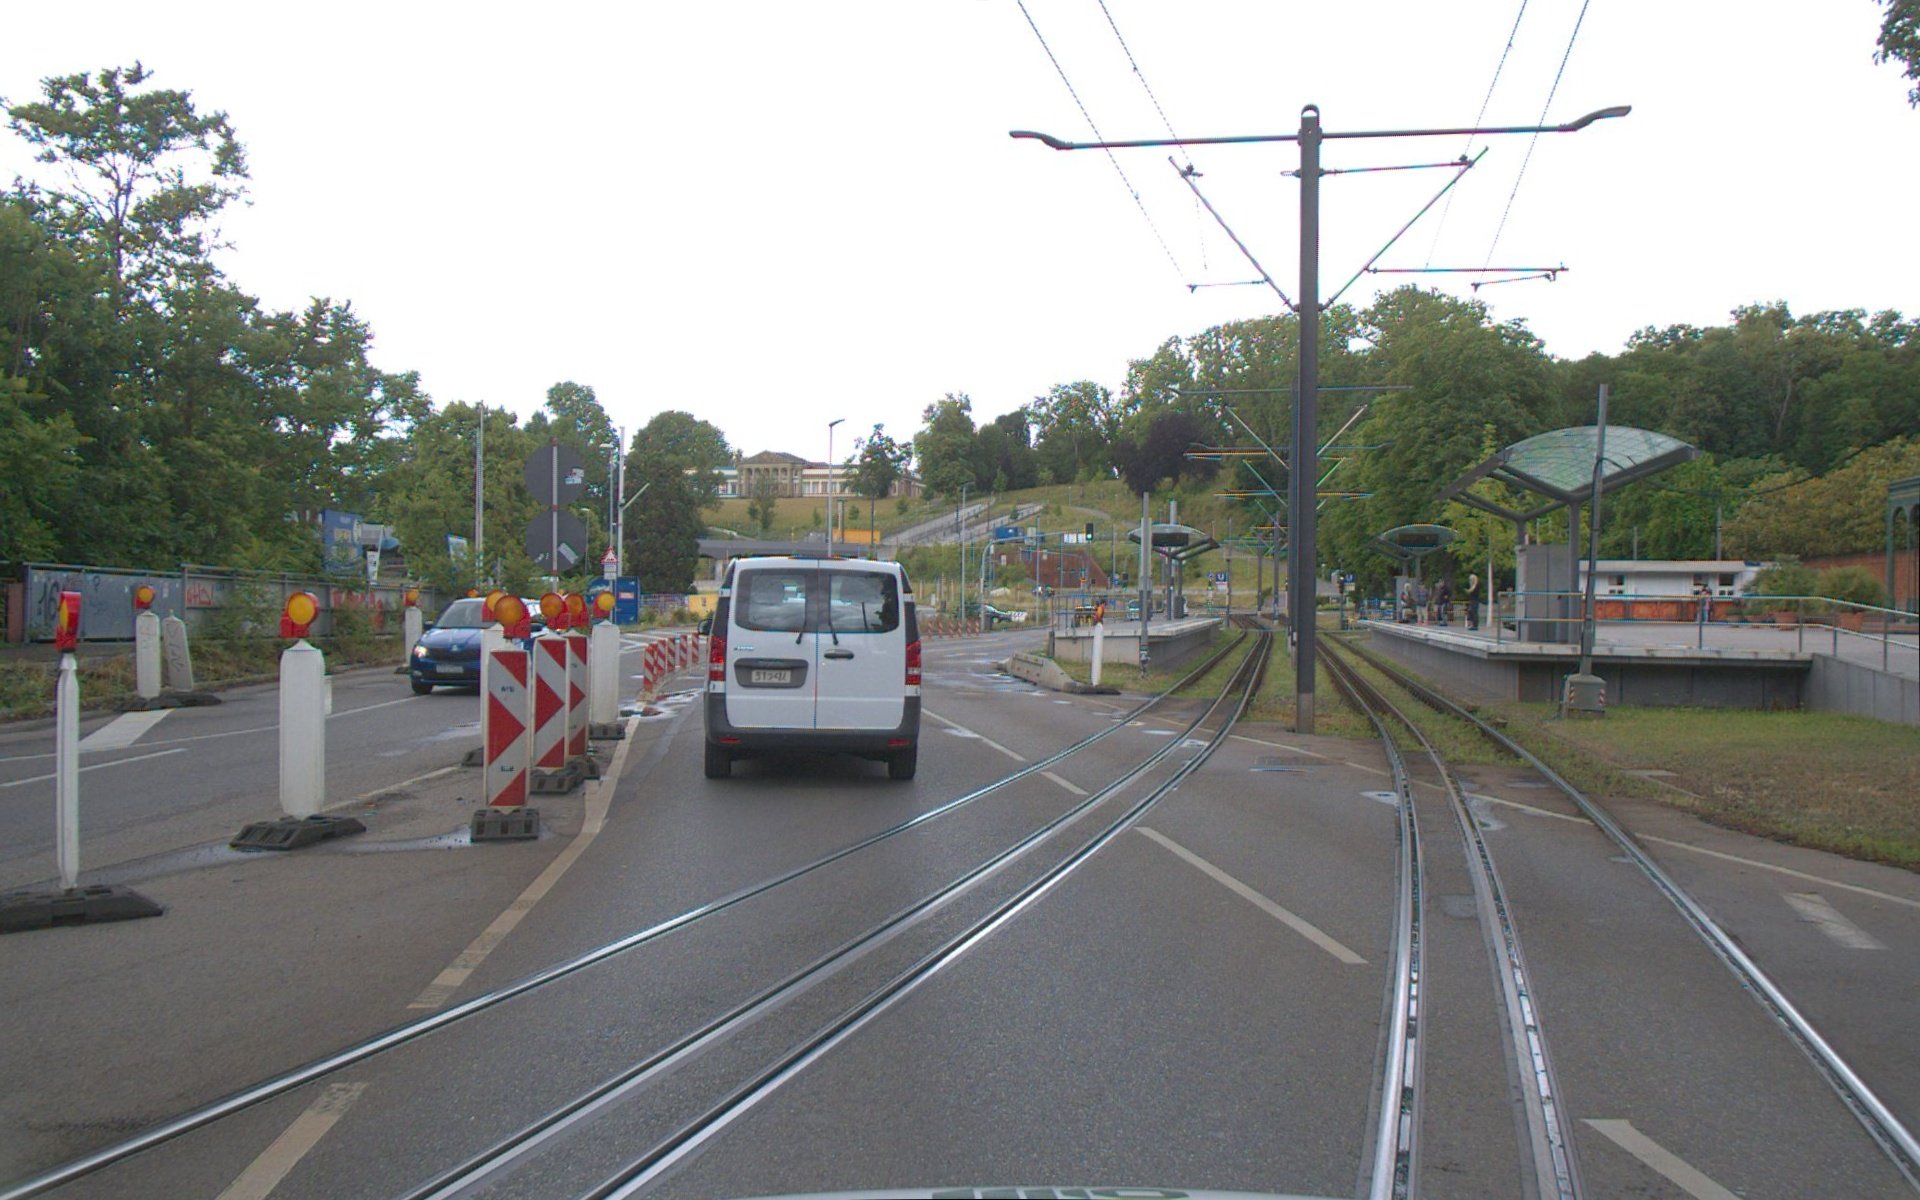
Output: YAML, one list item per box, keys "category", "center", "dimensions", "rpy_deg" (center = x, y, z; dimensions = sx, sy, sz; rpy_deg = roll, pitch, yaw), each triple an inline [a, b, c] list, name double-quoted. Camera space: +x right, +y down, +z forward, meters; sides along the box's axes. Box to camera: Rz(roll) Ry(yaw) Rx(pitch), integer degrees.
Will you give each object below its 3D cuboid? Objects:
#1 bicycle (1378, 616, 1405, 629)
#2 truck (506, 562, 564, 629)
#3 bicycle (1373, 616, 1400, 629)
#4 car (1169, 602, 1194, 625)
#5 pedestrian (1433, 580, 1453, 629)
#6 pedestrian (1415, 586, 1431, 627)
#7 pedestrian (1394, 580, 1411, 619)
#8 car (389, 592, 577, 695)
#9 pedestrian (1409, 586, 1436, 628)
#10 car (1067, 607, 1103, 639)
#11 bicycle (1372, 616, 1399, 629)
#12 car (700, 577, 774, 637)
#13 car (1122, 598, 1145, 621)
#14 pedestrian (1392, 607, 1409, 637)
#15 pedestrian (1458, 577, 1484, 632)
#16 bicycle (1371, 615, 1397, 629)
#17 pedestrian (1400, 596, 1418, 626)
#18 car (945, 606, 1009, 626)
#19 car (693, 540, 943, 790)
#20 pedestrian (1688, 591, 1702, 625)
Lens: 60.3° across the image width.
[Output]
- category: "bicycle"
  center: [31.127, 1.597, 119.404]
  dimensions: [1.871, 0.911, 0.531]
  rpy_deg: [0, -1, 12]
- category: "truck"
  center: [-23.177, -0.248, 90.047]
  dimensions: [2.747, 3.394, 8.440]
  rpy_deg: [-1, 0, -16]
- category: "bicycle"
  center: [31.092, 1.642, 120.548]
  dimensions: [1.871, 0.992, 0.531]
  rpy_deg: [0, -1, 12]
- category: "car"
  center: [20.811, 1.250, 155.631]
  dimensions: [2.154, 2.049, 5.154]
  rpy_deg: [1, 0, 6]
- category: "pedestrian"
  center: [18.733, 0.177, 64.121]
  dimensions: [0.619, 1.870, 0.951]
  rpy_deg: [2, -1, 12]
- category: "pedestrian"
  center: [18.764, 0.278, 67.024]
  dimensions: [0.513, 1.648, 0.676]
  rpy_deg: [2, -1, 12]
- category: "pedestrian"
  center: [19.395, -0.021, 72.502]
  dimensions: [0.532, 1.706, 0.676]
  rpy_deg: [2, -1, 8]
- category: "car"
  center: [-7.532, 0.640, 26.490]
  dimensions: [1.659, 1.487, 3.915]
  rpy_deg: [0, 1, 4]
- category: "pedestrian"
  center: [19.045, 0.288, 68.156]
  dimensions: [0.842, 1.706, 0.761]
  rpy_deg: [3, -1, 1]
- category: "car"
  center: [7.514, 1.363, 99.137]
  dimensions: [1.951, 1.803, 4.003]
  rpy_deg: [3, 0, 7]
- category: "bicycle"
  center: [31.167, 1.649, 121.193]
  dimensions: [1.871, 0.992, 0.531]
  rpy_deg: [0, -1, 12]
- category: "car"
  center: [-7.036, 0.189, 52.528]
  dimensions: [1.826, 1.813, 4.747]
  rpy_deg: [0, 1, -2]
- category: "car"
  center: [14.381, 0.831, 137.079]
  dimensions: [1.715, 1.803, 4.003]
  rpy_deg: [3, 0, 7]
- category: "pedestrian"
  center: [20.794, 1.034, 78.086]
  dimensions: [0.659, 1.346, 0.969]
  rpy_deg: [3, -1, 10]
- category: "pedestrian"
  center: [16.245, 0.140, 52.587]
  dimensions: [0.619, 1.717, 0.867]
  rpy_deg: [2, -1, 11]
- category: "bicycle"
  center: [31.486, 1.625, 122.845]
  dimensions: [1.871, 0.992, 0.531]
  rpy_deg: [0, -1, 12]
- category: "pedestrian"
  center: [18.694, 0.465, 68.843]
  dimensions: [0.643, 1.212, 0.676]
  rpy_deg: [2, -1, 13]
- category: "car"
  center: [1.348, 1.234, 129.577]
  dimensions: [4.612, 1.503, 2.000]
  rpy_deg: [0, 0, 21]
- category: "car"
  center: [-1.284, 0.531, 15.458]
  dimensions: [1.920, 1.937, 4.457]
  rpy_deg: [2, 0, -4]
- category: "pedestrian"
  center: [33.069, 0.357, 74.403]
  dimensions: [0.475, 1.513, 0.460]
  rpy_deg: [2, -1, 14]
